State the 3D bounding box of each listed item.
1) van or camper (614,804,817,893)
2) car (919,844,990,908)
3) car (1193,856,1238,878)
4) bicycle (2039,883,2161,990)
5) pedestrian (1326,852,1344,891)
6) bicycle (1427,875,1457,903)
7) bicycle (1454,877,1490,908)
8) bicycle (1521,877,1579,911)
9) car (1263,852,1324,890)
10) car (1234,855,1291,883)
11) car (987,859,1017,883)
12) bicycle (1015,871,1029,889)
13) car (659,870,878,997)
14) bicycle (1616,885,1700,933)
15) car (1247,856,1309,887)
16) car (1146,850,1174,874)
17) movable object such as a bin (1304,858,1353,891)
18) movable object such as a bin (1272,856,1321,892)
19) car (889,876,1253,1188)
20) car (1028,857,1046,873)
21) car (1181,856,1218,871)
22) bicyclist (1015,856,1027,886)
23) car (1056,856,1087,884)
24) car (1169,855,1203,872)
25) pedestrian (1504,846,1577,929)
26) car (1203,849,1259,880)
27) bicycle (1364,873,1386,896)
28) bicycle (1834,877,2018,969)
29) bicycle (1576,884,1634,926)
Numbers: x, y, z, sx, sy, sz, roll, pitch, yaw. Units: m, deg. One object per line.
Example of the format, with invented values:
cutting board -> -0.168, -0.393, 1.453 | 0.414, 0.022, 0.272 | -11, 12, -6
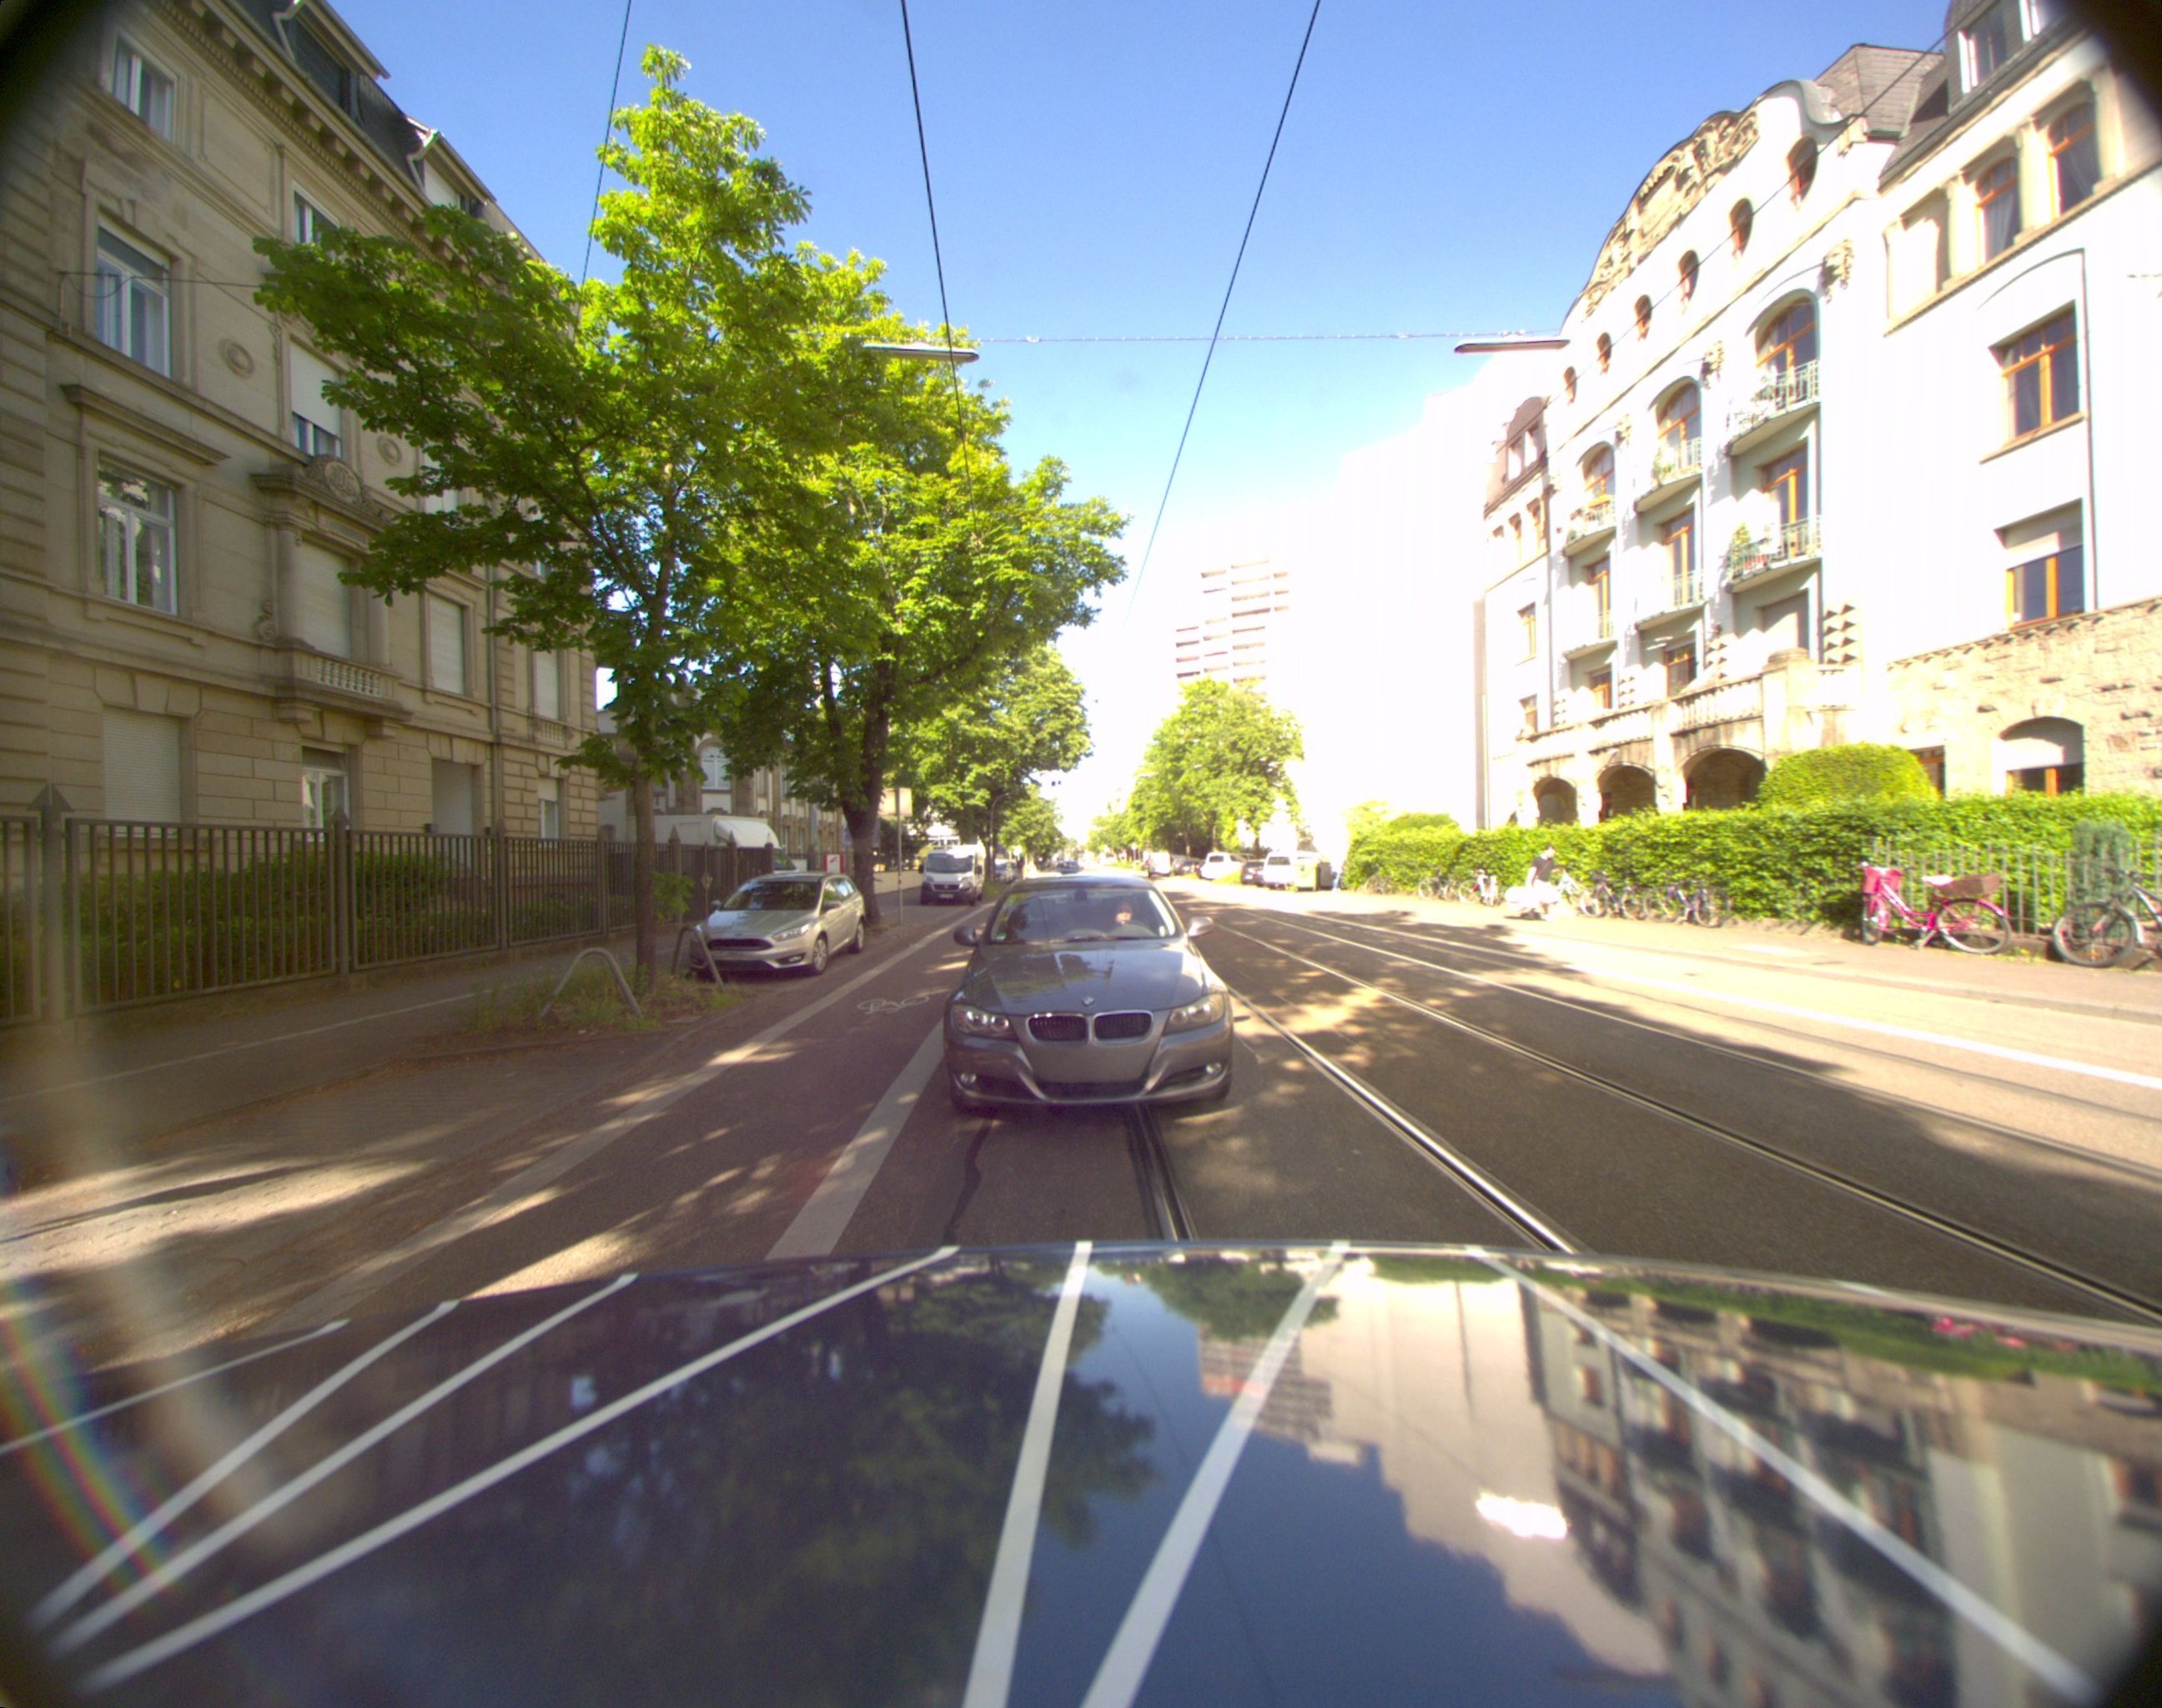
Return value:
van or camper -> -12.165, -0.136, 25.186 | 6.721, 2.612, 2.126 | -2, 1, 24
car -> -4.979, 0.773, 30.780 | 2.132, 2.329, 5.803 | 0, 1, -3
car -> 9.473, 0.908, 53.543 | 2.757, 1.427, 1.458 | -2, 1, -16
bicycle -> 11.096, 0.857, 7.733 | 0.405, 1.018, 1.816 | -2, 1, 1
pedestrian -> 10.586, 0.724, 31.704 | 0.475, 1.619, 0.659 | -2, 1, 1
bicycle -> 10.764, 1.035, 22.701 | 0.297, 0.757, 1.263 | -2, 1, 1
bicycle -> 10.742, 1.056, 20.910 | 0.318, 0.757, 1.263 | -2, 1, 1
bicycle -> 11.791, 1.001, 19.102 | 1.262, 0.789, 0.297 | -2, 1, 1
car -> 10.292, 0.810, 36.649 | 3.194, 1.763, 1.456 | 1, -2, -45
car -> 10.264, 0.854, 43.023 | 2.757, 1.427, 1.458 | -2, 1, -16
car -> -5.535, 1.186, 53.760 | 1.866, 1.541, 4.101 | -2, 1, -3
bicycle -> -3.396, 1.497, 43.632 | 0.535, 0.917, 2.057 | -2, 1, 1
car -> -4.706, 1.093, 12.210 | 1.877, 1.534, 4.364 | 0, 1, -3
bicycle -> 10.916, 1.015, 14.426 | 0.405, 0.757, 1.581 | -2, 1, 1
car -> 10.267, 0.891, 39.656 | 2.757, 1.427, 1.458 | -2, 1, -16
car -> 6.825, 0.636, 65.132 | 1.997, 1.893, 4.003 | -2, 1, 11
movable object such as a bin -> 11.116, 0.901, 34.209 | 1.501, 1.309, 2.096 | -2, 1, 1
movable object such as a bin -> 9.401, 0.846, 33.240 | 1.512, 1.424, 2.096 | -2, 1, 1
car -> -0.026, 1.001, 6.010 | 1.869, 1.426, 3.999 | -2, 1, 1
car -> -4.862, 1.197, 83.570 | 1.866, 1.646, 4.101 | -2, 1, -3
car -> 9.766, 0.802, 62.695 | 2.757, 1.083, 1.226 | -2, 1, -16
bicyclist -> -3.413, 0.976, 43.609 | 0.532, 1.660, 0.878 | -2, 1, 1
car -> -0.591, 1.000, 48.718 | 1.828, 1.559, 3.999 | -2, 1, 1
car -> 9.669, 0.850, 69.896 | 2.757, 1.417, 1.226 | -2, 1, -16
pedestrian -> 9.742, 0.687, 16.142 | 0.869, 1.619, 0.870 | -6, 1, 1
car -> 9.899, 0.681, 50.114 | 3.450, 1.860, 1.918 | -3, 1, -44
bicycle -> 10.632, 1.099, 27.454 | 0.297, 0.757, 1.263 | -2, 1, 1
bicycle -> 11.011, 0.855, 9.997 | 0.405, 1.018, 1.816 | -2, 1, 1
bicycle -> 10.966, 1.056, 15.931 | 0.339, 0.757, 1.263 | -2, 1, 1
